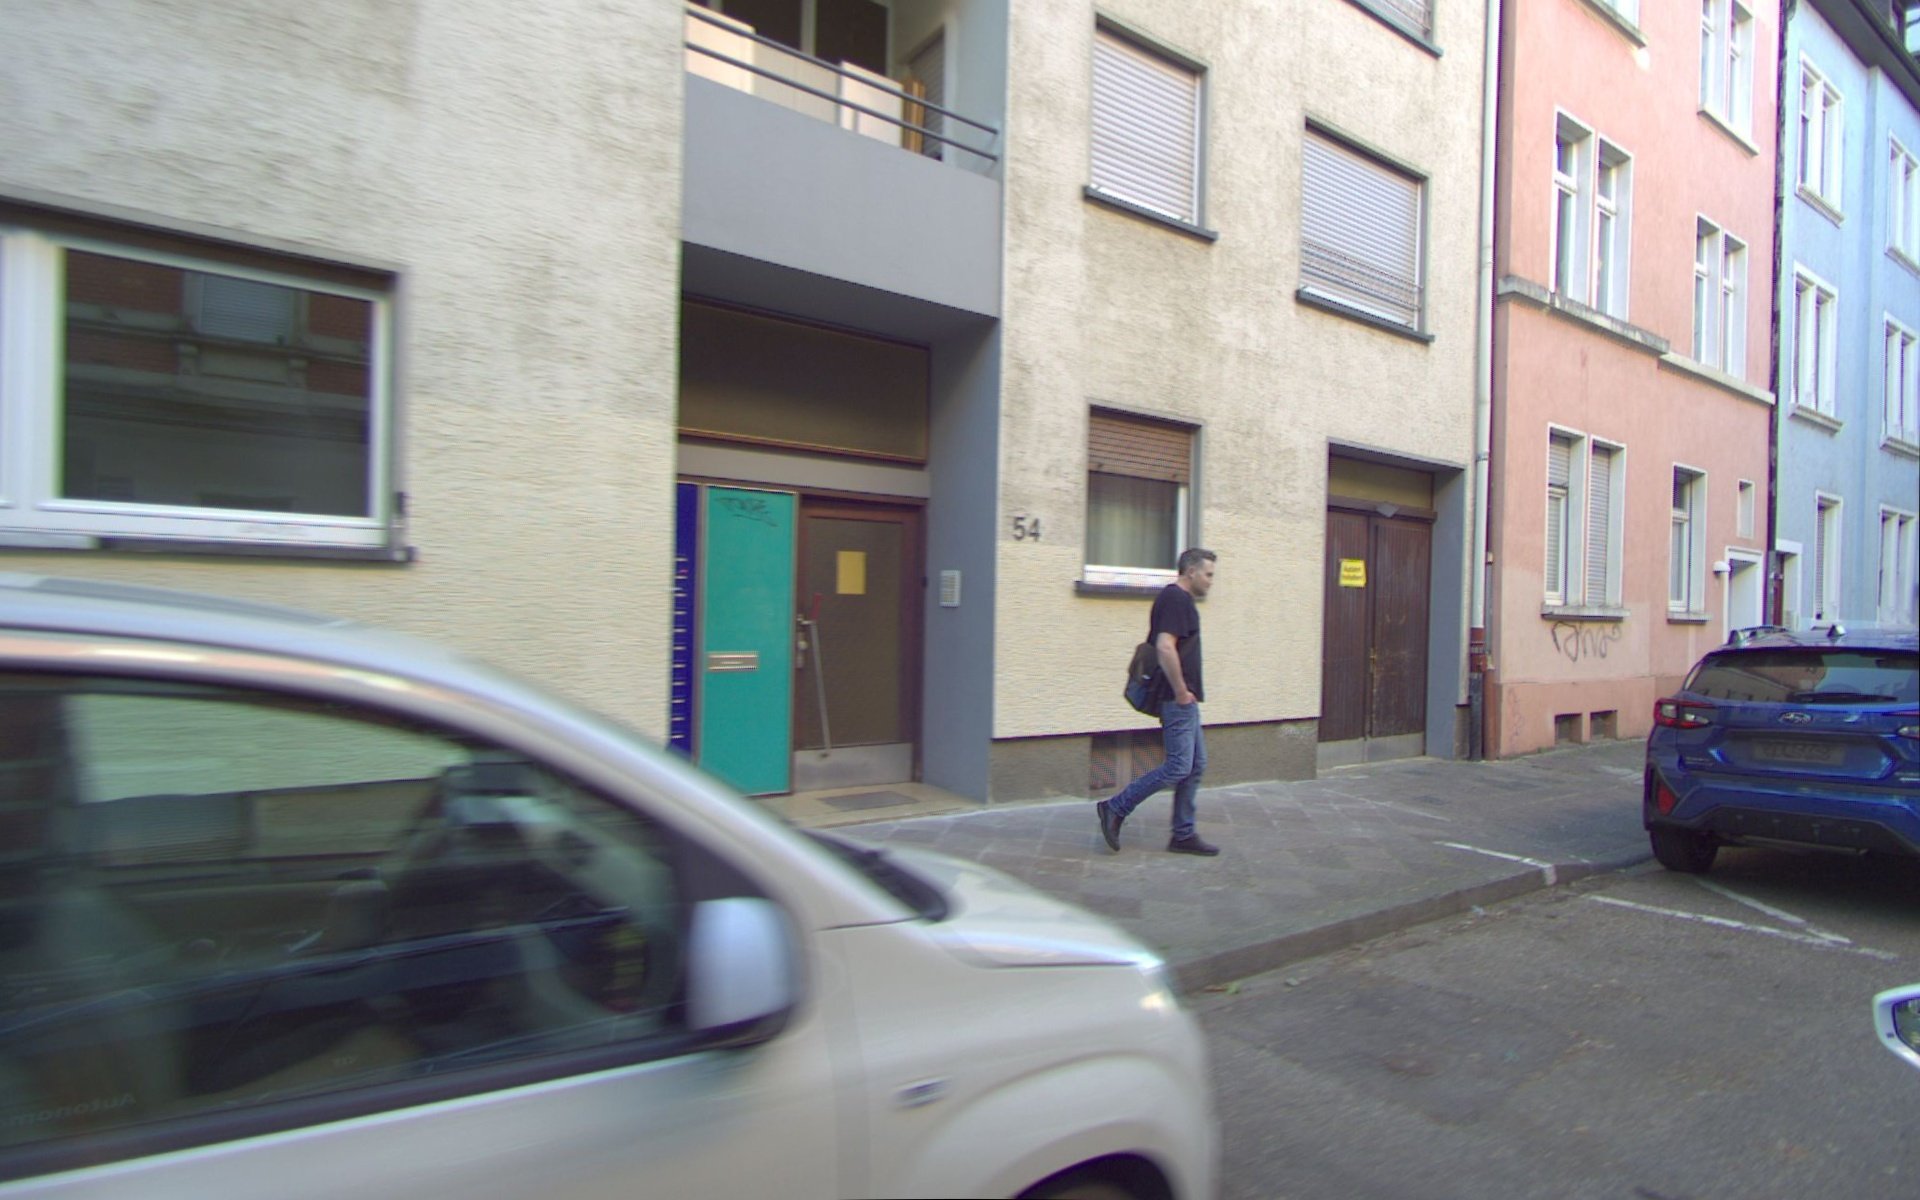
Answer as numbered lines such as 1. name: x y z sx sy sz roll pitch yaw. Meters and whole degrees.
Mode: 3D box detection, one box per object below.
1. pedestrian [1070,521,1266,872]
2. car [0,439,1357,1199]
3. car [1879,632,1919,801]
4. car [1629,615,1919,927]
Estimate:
1. pedestrian: 1.204 0.520 5.899 0.666 1.864 0.902 2 -1 -34
2. car: -1.222 0.661 1.502 3.834 1.560 1.662 2 -2 -38
3. car: 10.850 1.129 9.988 4.371 1.532 1.663 2 -1 -36
4. car: 6.273 0.930 6.715 4.338 1.560 1.716 2 -2 -38
